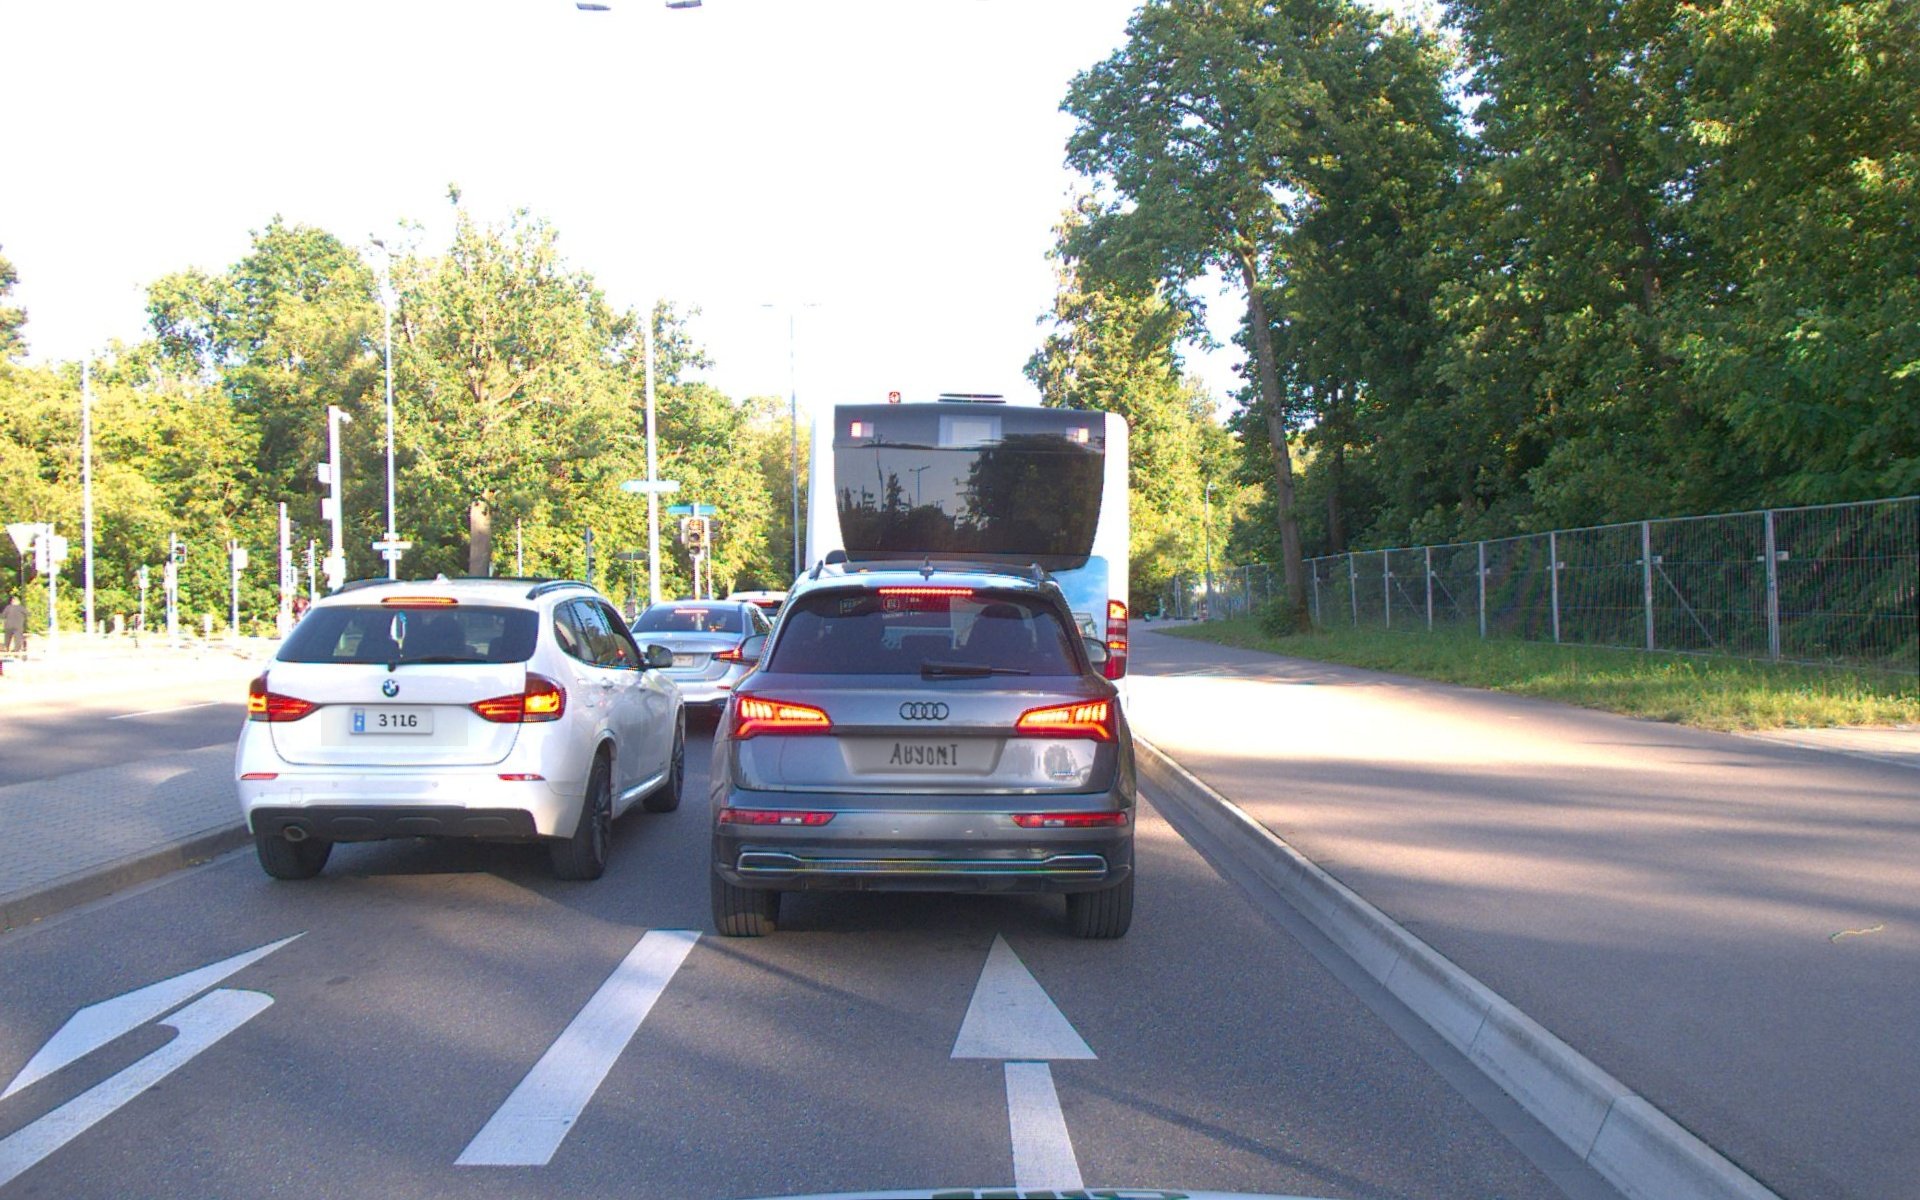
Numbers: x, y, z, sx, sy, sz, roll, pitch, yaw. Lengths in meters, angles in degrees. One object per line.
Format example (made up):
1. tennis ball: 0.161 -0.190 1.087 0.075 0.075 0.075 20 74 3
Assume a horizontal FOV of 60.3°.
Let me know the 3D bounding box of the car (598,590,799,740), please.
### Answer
1. car: -2.878 0.653 19.022 1.749 1.469 4.276 1 1 -2

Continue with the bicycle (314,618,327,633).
1. bicycle: -24.681 0.980 63.828 0.261 0.592 0.838 1 0 -6

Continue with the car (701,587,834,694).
1. car: -3.121 0.610 27.542 1.771 1.599 4.000 1 1 -1

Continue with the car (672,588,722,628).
1. car: -11.867 0.362 74.792 1.955 1.691 3.995 -2 0 -6

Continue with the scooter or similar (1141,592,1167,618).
1. scooter or similar: 9.166 0.247 78.043 1.158 1.195 0.659 1 0 10

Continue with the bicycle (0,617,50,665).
1. bicycle: -24.144 1.036 42.469 0.458 1.198 2.003 1 0 -1

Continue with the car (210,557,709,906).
1. car: -2.673 0.605 9.948 1.683 1.608 4.433 1 0 -1

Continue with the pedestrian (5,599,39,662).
1. pedestrian: -24.136 0.786 42.547 0.472 1.589 0.648 1 -1 -1

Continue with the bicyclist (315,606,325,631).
1. bicyclist: -24.672 0.715 63.782 0.268 0.979 0.240 1 -1 -6

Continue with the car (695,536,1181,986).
1. car: -0.111 0.591 8.315 1.830 1.693 4.000 1 1 -1

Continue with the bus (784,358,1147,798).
1. bus: 0.063 -0.199 15.124 2.623 3.196 5.882 1 1 0
